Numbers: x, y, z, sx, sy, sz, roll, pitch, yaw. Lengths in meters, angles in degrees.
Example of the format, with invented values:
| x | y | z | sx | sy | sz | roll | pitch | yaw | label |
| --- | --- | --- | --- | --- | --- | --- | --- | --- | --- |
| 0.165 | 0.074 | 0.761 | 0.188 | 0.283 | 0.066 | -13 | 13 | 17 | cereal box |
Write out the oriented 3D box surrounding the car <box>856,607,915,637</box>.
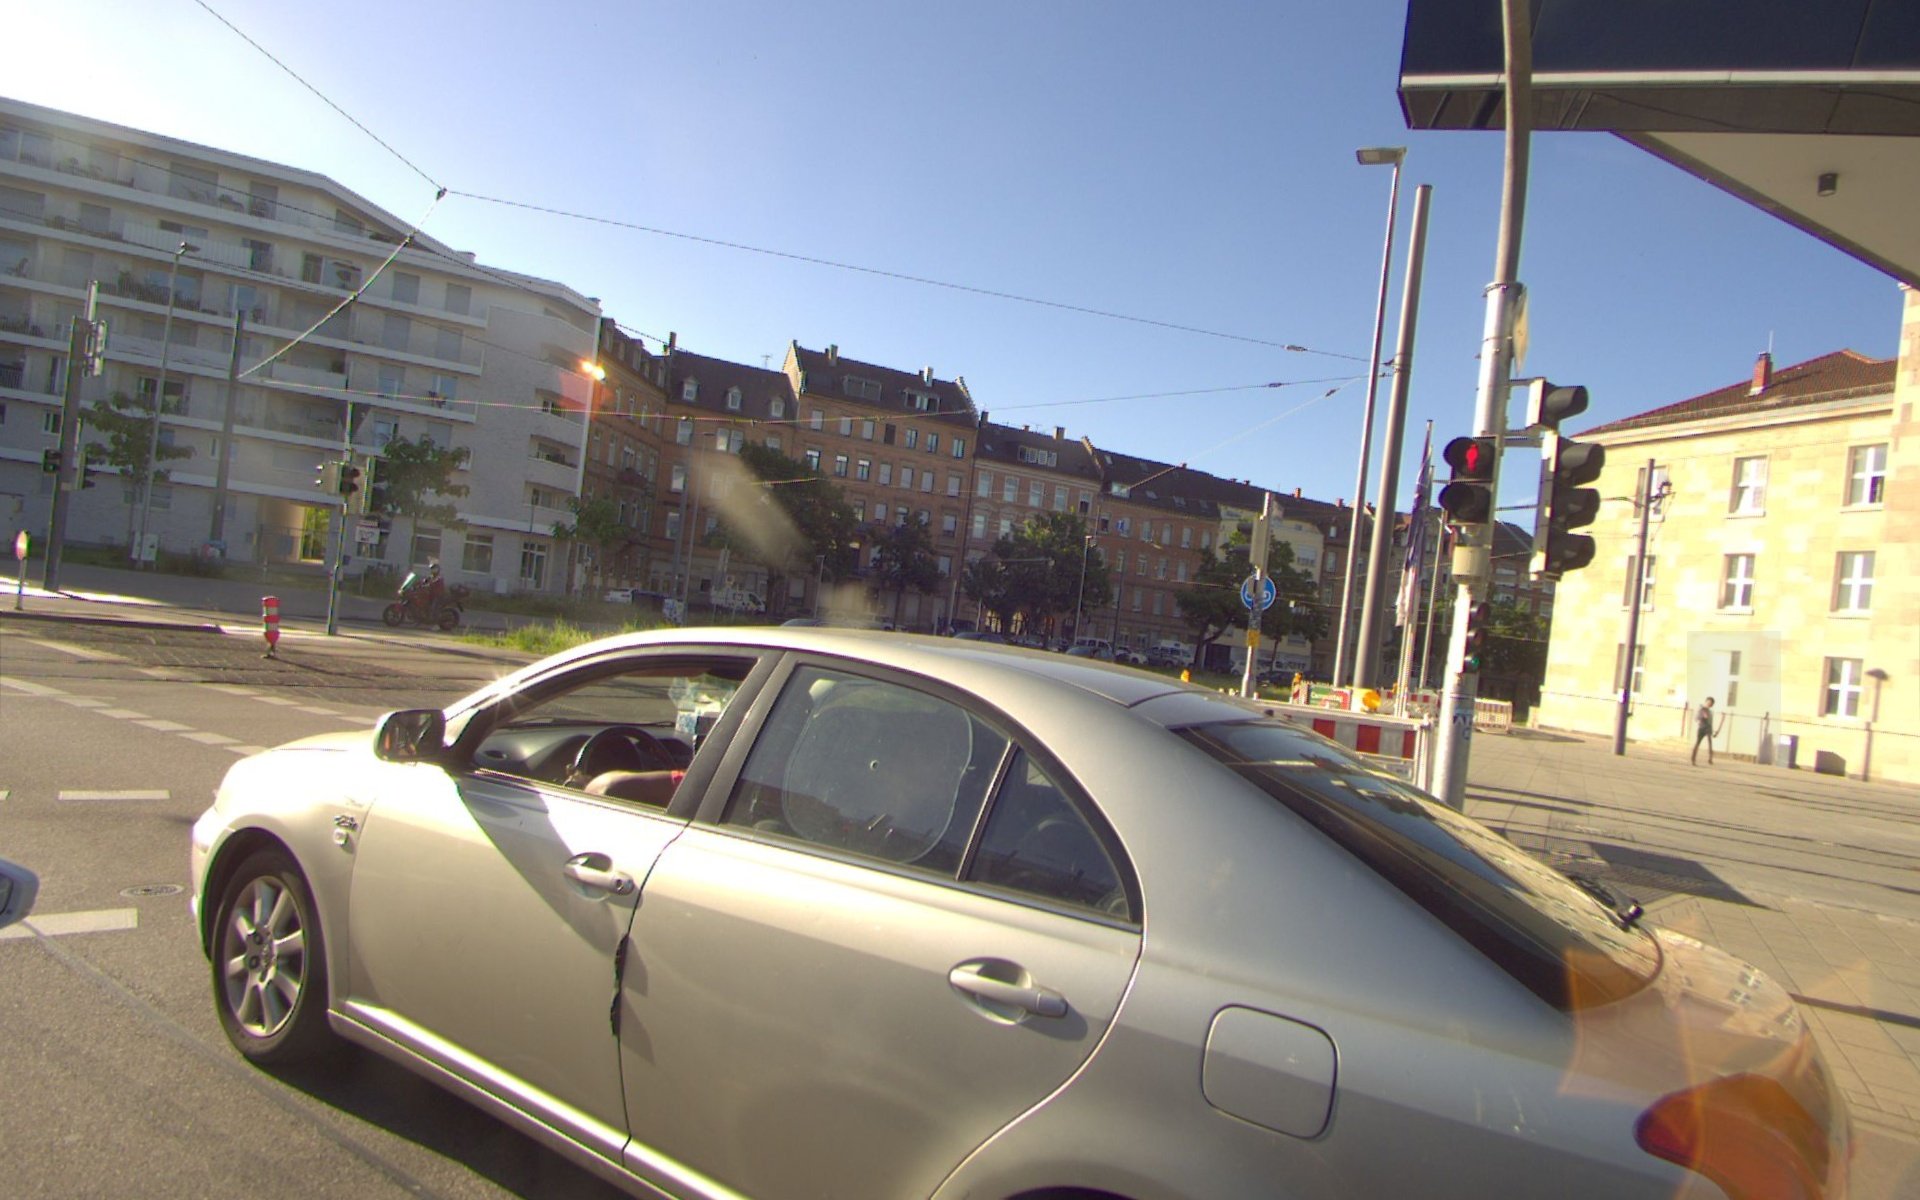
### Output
| x | y | z | sx | sy | sz | roll | pitch | yaw | label |
| --- | --- | --- | --- | --- | --- | --- | --- | --- | --- |
| -5.450 | 1.600 | 73.258 | 3.945 | 1.793 | 1.990 | 5 | -1 | 42 | car |

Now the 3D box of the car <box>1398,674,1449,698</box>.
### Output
| x | y | z | sx | sy | sz | roll | pitch | yaw | label |
| --- | --- | --- | --- | --- | --- | --- | --- | --- | --- |
| 43.609 | 8.078 | 94.654 | 3.939 | 1.793 | 1.993 | 5 | -1 | 36 | car |

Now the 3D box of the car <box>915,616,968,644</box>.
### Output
| x | y | z | sx | sy | sz | roll | pitch | yaw | label |
| --- | --- | --- | --- | --- | --- | --- | --- | --- | --- |
| -1.483 | 2.359 | 79.032 | 1.985 | 1.793 | 3.956 | 6 | -1 | -40 | car |

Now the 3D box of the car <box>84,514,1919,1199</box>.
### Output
| x | y | z | sx | sy | sz | roll | pitch | yaw | label |
| --- | --- | --- | --- | --- | --- | --- | --- | --- | --- |
| -0.375 | 0.738 | 2.897 | 4.550 | 1.499 | 1.749 | 6 | -1 | 30 | car |

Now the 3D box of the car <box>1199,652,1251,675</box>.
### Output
| x | y | z | sx | sy | sz | roll | pitch | yaw | label |
| --- | --- | --- | --- | --- | --- | --- | --- | --- | --- |
| 25.193 | 6.052 | 95.776 | 4.352 | 1.742 | 1.990 | 6 | -1 | -22 | car |

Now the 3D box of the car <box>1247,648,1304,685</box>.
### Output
| x | y | z | sx | sy | sz | roll | pitch | yaw | label |
| --- | --- | --- | --- | --- | --- | --- | --- | --- | --- |
| 27.451 | 5.787 | 87.678 | 3.941 | 2.439 | 1.991 | 12 | 4 | 40 | car |

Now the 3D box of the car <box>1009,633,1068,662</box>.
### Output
| x | y | z | sx | sy | sz | roll | pitch | yaw | label |
| --- | --- | --- | --- | --- | --- | --- | --- | --- | --- |
| 6.071 | 3.641 | 77.740 | 3.937 | 1.798 | 1.994 | 5 | -1 | 35 | car |

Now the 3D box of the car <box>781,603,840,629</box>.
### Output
| x | y | z | sx | sy | sz | roll | pitch | yaw | label |
| --- | --- | --- | --- | --- | --- | --- | --- | --- | --- |
| -10.522 | 1.128 | 70.784 | 3.945 | 1.370 | 1.990 | 5 | -1 | 42 | car |

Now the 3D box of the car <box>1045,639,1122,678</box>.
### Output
| x | y | z | sx | sy | sz | roll | pitch | yaw | label |
| --- | --- | --- | --- | --- | --- | --- | --- | --- | --- |
| 6.627 | 3.157 | 53.824 | 1.973 | 1.637 | 4.081 | 6 | -2 | 42 | car |

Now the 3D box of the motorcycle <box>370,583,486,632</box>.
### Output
| x | y | z | sx | sy | sz | roll | pitch | yaw | label |
| --- | --- | --- | --- | --- | --- | --- | --- | --- | --- |
| -14.296 | 0.223 | 27.120 | 1.153 | 1.012 | 2.455 | 6 | -2 | 34 | motorcycle |

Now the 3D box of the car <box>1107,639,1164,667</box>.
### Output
| x | y | z | sx | sy | sz | roll | pitch | yaw | label |
| --- | --- | --- | --- | --- | --- | --- | --- | --- | --- |
| 14.114 | 4.288 | 81.040 | 3.934 | 1.793 | 1.996 | 5 | -1 | 32 | car |

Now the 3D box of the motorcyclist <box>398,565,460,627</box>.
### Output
| x | y | z | sx | sy | sz | roll | pitch | yaw | label |
| --- | --- | --- | --- | --- | --- | --- | --- | --- | --- |
| -14.283 | -0.097 | 27.077 | 1.153 | 1.499 | 0.925 | 6 | -1 | 34 | motorcyclist |

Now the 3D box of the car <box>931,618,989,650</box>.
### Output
| x | y | z | sx | sy | sz | roll | pitch | yaw | label |
| --- | --- | --- | --- | --- | --- | --- | --- | --- | --- |
| 0.005 | 2.869 | 85.106 | 4.355 | 2.216 | 1.988 | 6 | -1 | -25 | car |

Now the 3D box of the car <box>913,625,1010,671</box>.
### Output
| x | y | z | sx | sy | sz | roll | pitch | yaw | label |
| --- | --- | --- | --- | --- | --- | --- | --- | --- | --- |
| 0.126 | 2.181 | 44.941 | 1.969 | 1.637 | 4.529 | 6 | -1 | 36 | car |

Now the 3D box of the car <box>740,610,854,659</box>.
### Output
| x | y | z | sx | sy | sz | roll | pitch | yaw | label |
| --- | --- | --- | --- | --- | --- | --- | --- | --- | --- |
| -5.753 | 1.269 | 36.015 | 1.740 | 1.416 | 4.250 | 3 | -3 | 29 | car |

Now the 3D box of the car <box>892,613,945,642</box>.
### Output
| x | y | z | sx | sy | sz | roll | pitch | yaw | label |
| --- | --- | --- | --- | --- | --- | --- | --- | --- | --- |
| -3.210 | 2.125 | 77.308 | 1.983 | 1.793 | 3.959 | 6 | -1 | -38 | car |

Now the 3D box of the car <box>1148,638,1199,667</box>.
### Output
| x | y | z | sx | sy | sz | roll | pitch | yaw | label |
| --- | --- | --- | --- | --- | --- | --- | --- | --- | --- |
| 19.907 | 4.898 | 93.791 | 4.129 | 2.216 | 1.992 | 6 | 0 | -20 | car |

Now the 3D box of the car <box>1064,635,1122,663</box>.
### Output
| x | y | z | sx | sy | sz | roll | pitch | yaw | label |
| --- | --- | --- | --- | --- | --- | --- | --- | --- | --- |
| 10.506 | 3.869 | 79.400 | 3.934 | 1.793 | 1.996 | 5 | -1 | 32 | car |

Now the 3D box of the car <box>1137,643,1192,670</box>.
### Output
| x | y | z | sx | sy | sz | roll | pitch | yaw | label |
| --- | --- | --- | --- | --- | --- | --- | --- | --- | --- |
| 16.918 | 4.708 | 83.225 | 3.934 | 1.793 | 1.996 | 5 | -1 | 32 | car |

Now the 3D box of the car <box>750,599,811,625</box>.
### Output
| x | y | z | sx | sy | sz | roll | pitch | yaw | label |
| --- | --- | --- | --- | --- | --- | --- | --- | --- | --- |
| -12.388 | 0.830 | 69.292 | 3.945 | 1.370 | 1.990 | 5 | -1 | 42 | car |

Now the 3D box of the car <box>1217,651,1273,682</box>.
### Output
| x | y | z | sx | sy | sz | roll | pitch | yaw | label |
| --- | --- | --- | --- | --- | --- | --- | --- | --- | --- |
| 24.237 | 5.662 | 85.650 | 3.941 | 1.795 | 1.991 | 11 | 3 | 40 | car |

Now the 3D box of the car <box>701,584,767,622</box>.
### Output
| x | y | z | sx | sy | sz | roll | pitch | yaw | label |
| --- | --- | --- | --- | --- | --- | --- | --- | --- | --- |
| -17.374 | 0.253 | 77.271 | 4.537 | 2.338 | 1.992 | 7 | -1 | -20 | car |

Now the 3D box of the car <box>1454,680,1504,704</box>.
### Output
| x | y | z | sx | sy | sz | roll | pitch | yaw | label |
| --- | --- | --- | --- | --- | --- | --- | --- | --- | --- |
| 49.895 | 8.868 | 96.695 | 3.939 | 1.793 | 1.993 | 5 | -1 | 36 | car |

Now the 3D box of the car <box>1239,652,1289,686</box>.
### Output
| x | y | z | sx | sy | sz | roll | pitch | yaw | label |
| --- | --- | --- | --- | --- | --- | --- | --- | --- | --- |
| 20.619 | 4.691 | 68.181 | 1.969 | 2.038 | 3.988 | 5 | -1 | 35 | car |

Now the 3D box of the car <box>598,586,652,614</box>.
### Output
| x | y | z | sx | sy | sz | roll | pitch | yaw | label |
| --- | --- | --- | --- | --- | --- | --- | --- | --- | --- |
| -22.082 | 0.025 | 66.499 | 1.962 | 1.504 | 4.002 | 6 | -1 | 3 | car |

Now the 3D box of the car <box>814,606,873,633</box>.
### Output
| x | y | z | sx | sy | sz | roll | pitch | yaw | label |
| --- | --- | --- | --- | --- | --- | --- | --- | --- | --- |
| -8.328 | 1.409 | 71.913 | 3.945 | 1.504 | 1.990 | 5 | -1 | 42 | car |
